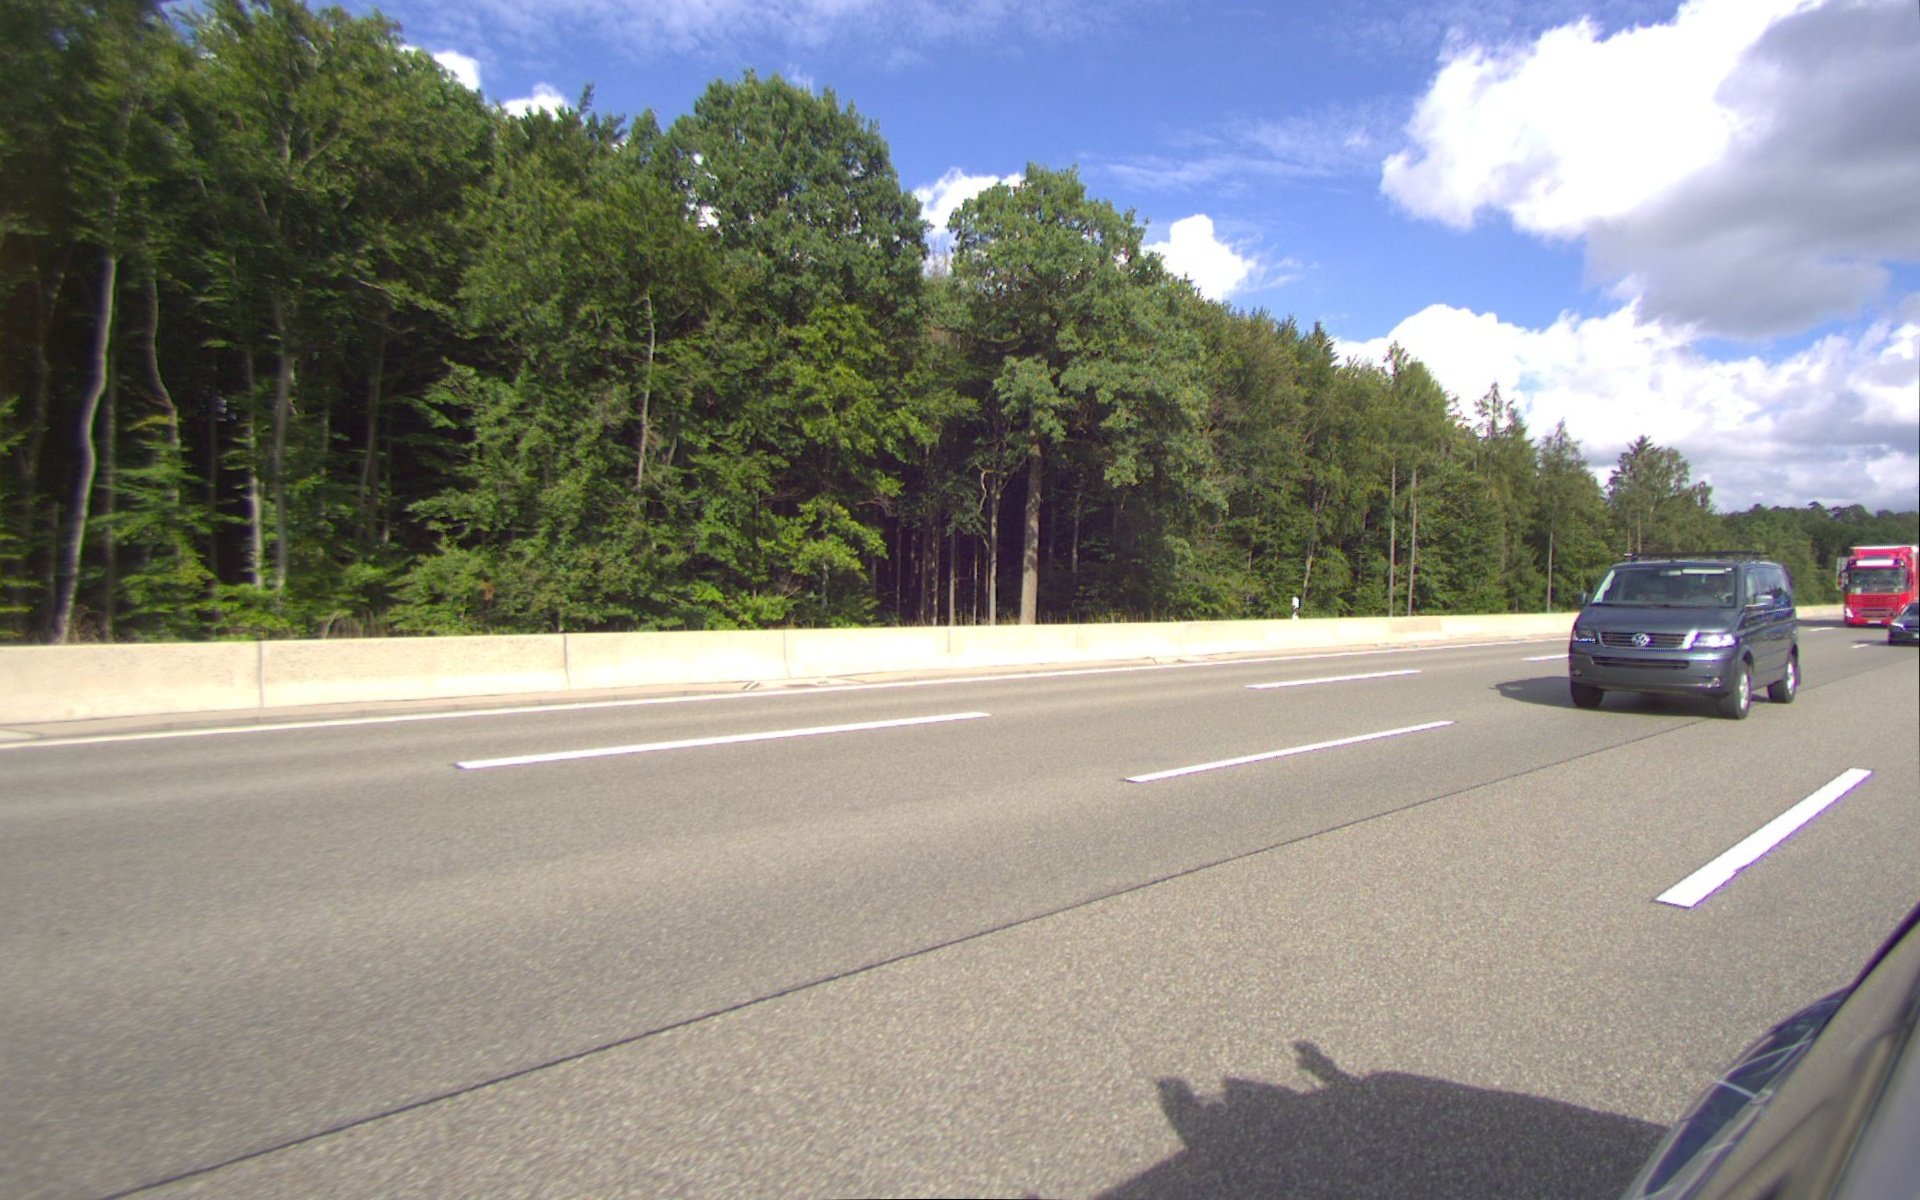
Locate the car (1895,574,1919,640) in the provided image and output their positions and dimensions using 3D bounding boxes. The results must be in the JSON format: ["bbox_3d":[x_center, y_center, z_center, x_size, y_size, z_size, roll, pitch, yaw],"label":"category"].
[{"bbox_3d":[31.651,0.205,32.431,3.929,2.039,1.998,0,0,-40],"label":"car"}]

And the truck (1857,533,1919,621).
[{"bbox_3d":[47.103,-1.166,50.840,4.573,4.255,2.530,-1,1,-41],"label":"truck"}]

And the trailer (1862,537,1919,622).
[{"bbox_3d":[52.119,-1.159,55.167,14.126,4.171,2.529,-1,1,-41],"label":"trailer"}]

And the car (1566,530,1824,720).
[{"bbox_3d":[10.311,0.250,14.039,4.876,2.193,1.925,0,1,-42],"label":"car"}]
